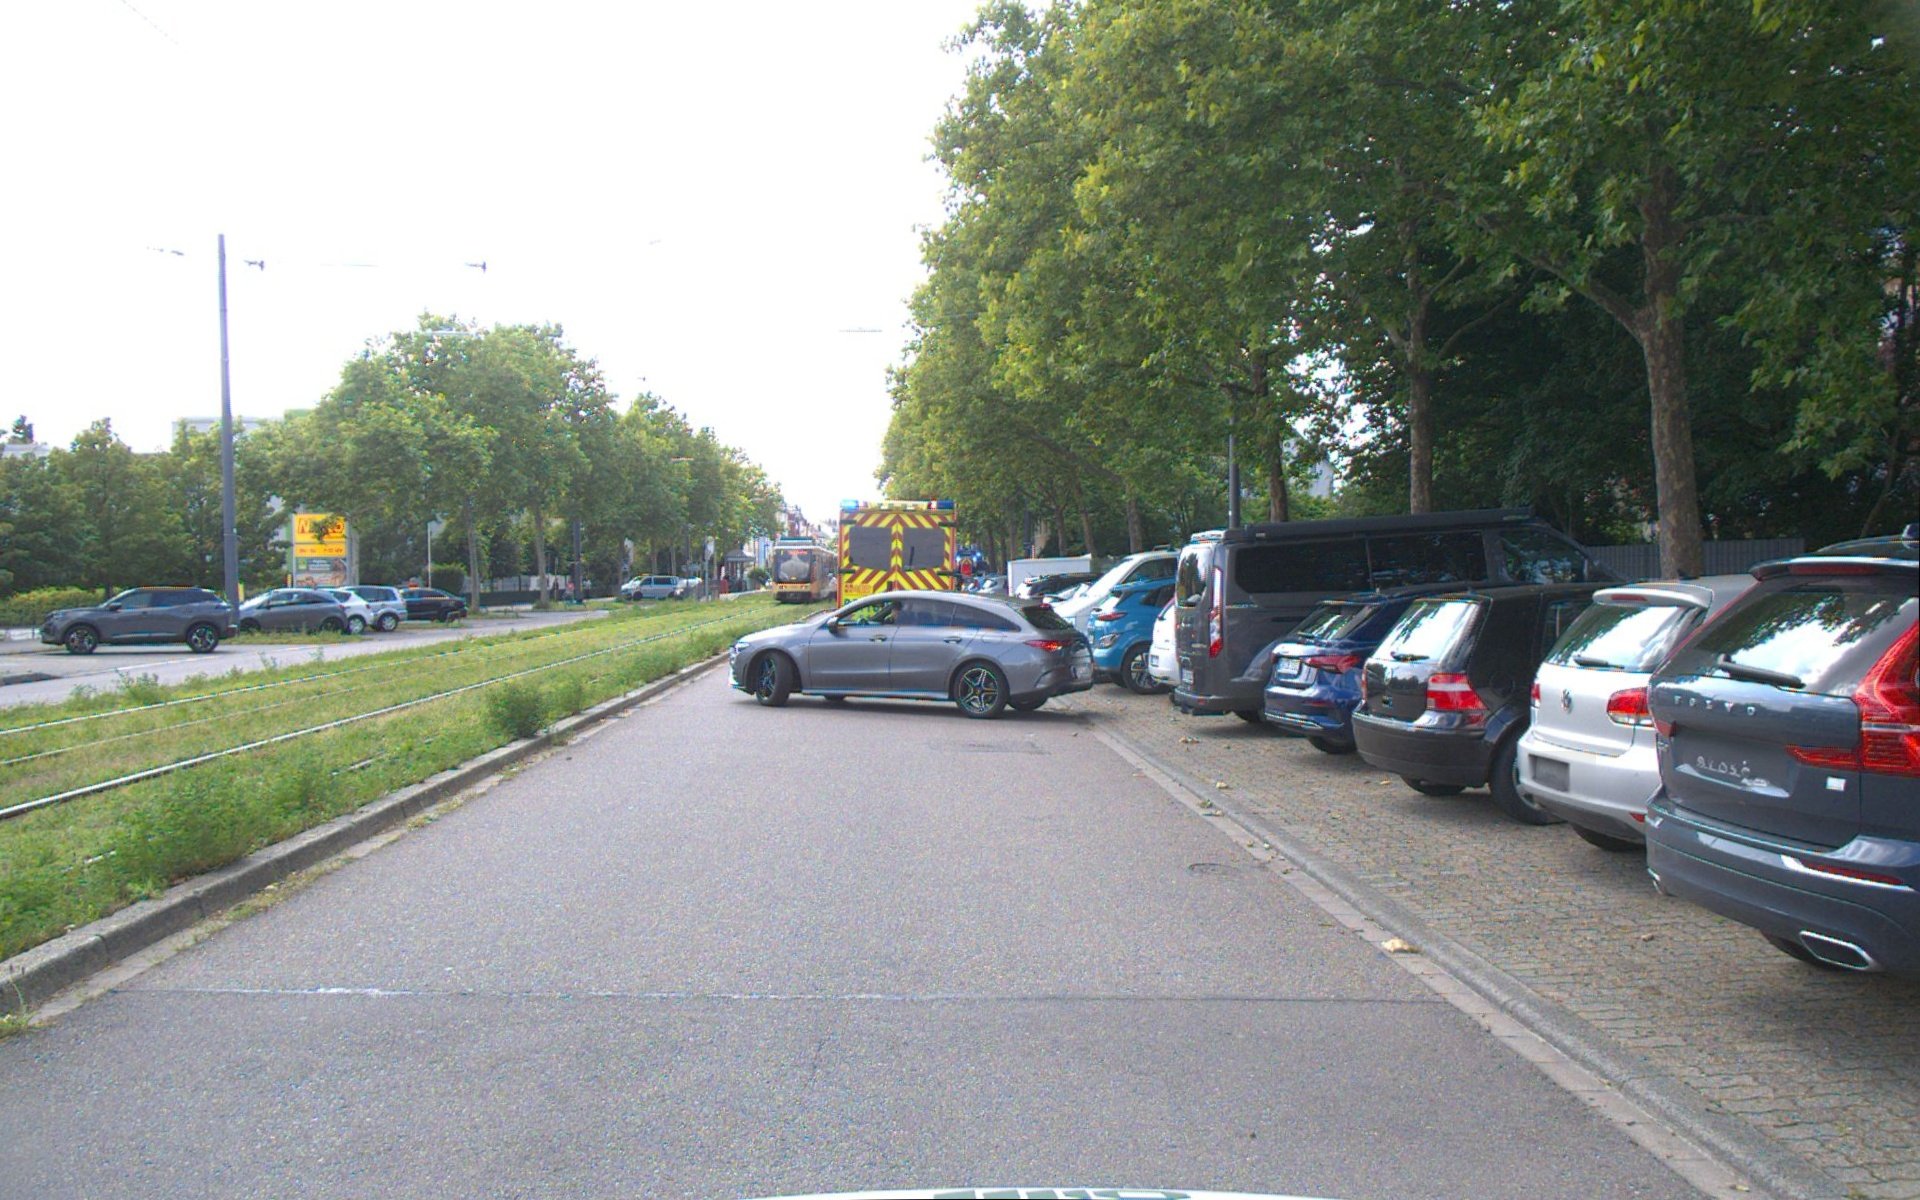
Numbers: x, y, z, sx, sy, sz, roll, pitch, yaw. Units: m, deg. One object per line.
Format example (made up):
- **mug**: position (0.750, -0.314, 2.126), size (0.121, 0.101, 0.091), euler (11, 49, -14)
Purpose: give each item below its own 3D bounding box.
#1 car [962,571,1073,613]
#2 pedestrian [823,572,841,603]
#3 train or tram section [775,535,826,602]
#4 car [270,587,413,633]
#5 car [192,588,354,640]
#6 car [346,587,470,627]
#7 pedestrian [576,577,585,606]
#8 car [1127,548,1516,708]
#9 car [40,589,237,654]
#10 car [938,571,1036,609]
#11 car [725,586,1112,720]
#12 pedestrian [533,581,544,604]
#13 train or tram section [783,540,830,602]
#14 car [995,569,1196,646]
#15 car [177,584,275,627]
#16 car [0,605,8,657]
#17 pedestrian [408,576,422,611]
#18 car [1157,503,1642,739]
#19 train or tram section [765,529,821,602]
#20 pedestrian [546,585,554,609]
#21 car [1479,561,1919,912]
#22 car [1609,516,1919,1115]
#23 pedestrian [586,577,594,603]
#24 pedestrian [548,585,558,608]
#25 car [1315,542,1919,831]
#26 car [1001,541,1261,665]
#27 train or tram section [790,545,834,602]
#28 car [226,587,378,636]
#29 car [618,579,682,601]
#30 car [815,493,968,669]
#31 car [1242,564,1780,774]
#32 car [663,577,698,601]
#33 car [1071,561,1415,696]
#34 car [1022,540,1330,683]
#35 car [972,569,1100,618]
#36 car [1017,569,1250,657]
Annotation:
- **car**: position (2.430, -0.339, 70.616), size (4.458, 1.636, 1.853), euler (-2, 1, -6)
- **pedestrian**: position (-6.542, -0.635, 84.565), size (0.863, 1.552, 0.750), euler (1, 0, -3)
- **train or tram section**: position (-9.202, -1.756, 96.030), size (2.462, 3.646, 7.441), euler (-2, 0, -3)
- **car**: position (-20.897, 0.312, 55.947), size (4.192, 1.508, 1.858), euler (0, 0, -38)
- **car**: position (-20.735, 0.399, 49.996), size (4.192, 1.508, 1.858), euler (0, 0, -38)
- **car**: position (-21.378, 0.260, 64.135), size (4.199, 1.508, 1.854), euler (0, 0, -42)
- **pedestrian**: position (-22.547, -0.505, 98.268), size (0.413, 1.760, 0.467), euler (-1, 0, -7)
- **car**: position (4.491, 0.319, 20.977), size (4.455, 1.797, 1.855), euler (-2, 1, -3)
- **car**: position (-19.768, 0.487, 39.921), size (4.171, 1.508, 1.867), euler (0, 0, -27)
- **car**: position (1.274, -0.469, 78.805), size (4.458, 1.636, 1.853), euler (-2, 1, -6)
- **car**: position (-0.504, 0.584, 20.161), size (4.362, 1.409, 1.767), euler (1, 0, 21)
- **pedestrian**: position (-28.486, -0.496, 111.856), size (0.620, 1.578, 0.621), euler (-1, 0, -6)
- **train or tram section**: position (-9.532, -1.739, 103.465), size (2.462, 3.646, 7.441), euler (-2, 0, -3)
- **car**: position (3.175, 0.167, 39.223), size (4.458, 1.636, 1.853), euler (-2, 1, -6)
- **car**: position (-32.417, 0.221, 73.029), size (3.912, 1.780, 1.997), euler (2, 1, 29)
- **car**: position (-31.120, 0.912, 49.766), size (3.905, 1.592, 1.777), euler (1, 0, 0)
- **pedestrian**: position (-26.534, -0.305, 80.502), size (0.457, 1.706, 0.603), euler (-1, 0, -4)
- **car**: position (4.415, 0.184, 17.056), size (4.455, 2.160, 1.855), euler (-2, 1, -3)
- **train or tram section**: position (-8.864, -1.773, 88.609), size (2.462, 3.646, 7.441), euler (-2, 0, -3)
- **pedestrian**: position (-25.343, -0.202, 102.258), size (0.413, 1.499, 0.467), euler (-1, 0, -7)
- **car**: position (4.869, 0.568, 8.378), size (3.886, 1.520, 1.755), euler (-2, 1, -3)
- **car**: position (4.670, 0.529, 5.527), size (4.292, 1.668, 1.756), euler (-2, 1, -1)
- **pedestrian**: position (-26.773, -0.729, 119.749), size (0.457, 1.860, 0.422), euler (-1, 0, -4)
- **pedestrian**: position (-25.624, -0.227, 104.082), size (0.412, 1.439, 0.467), euler (-1, 1, 22)
- **car**: position (4.572, 0.484, 11.092), size (3.897, 1.633, 1.750), euler (-2, 1, -13)
- **car**: position (3.106, 0.041, 30.585), size (4.458, 2.079, 1.853), euler (-2, 1, -6)
- **train or tram section**: position (-9.856, -1.722, 110.897), size (2.462, 3.646, 7.441), euler (-2, 0, -3)
- **car**: position (-21.007, 0.348, 52.894), size (4.192, 1.508, 1.858), euler (0, 0, -38)
- **car**: position (-24.093, -0.800, 128.584), size (4.588, 1.661, 1.855), euler (-2, 1, -42)
- **car**: position (-1.252, -0.367, 32.423), size (2.588, 3.018, 6.298), euler (2, 0, -1)
- **car**: position (4.497, 0.536, 13.867), size (3.886, 1.520, 1.755), euler (-2, 0, -3)
- **car**: position (-19.879, -0.827, 117.772), size (1.954, 1.585, 4.367), euler (-2, 1, -3)
- **car**: position (3.953, 0.372, 23.489), size (4.459, 1.689, 1.853), euler (-2, 1, -7)
- **car**: position (3.334, 0.155, 25.999), size (4.458, 2.035, 1.853), euler (-2, 1, -6)
- **car**: position (2.758, -0.233, 60.774), size (4.458, 1.636, 1.853), euler (-2, 1, -6)
- **car**: position (3.523, 0.247, 34.078), size (4.458, 1.636, 1.853), euler (-2, 1, -6)
